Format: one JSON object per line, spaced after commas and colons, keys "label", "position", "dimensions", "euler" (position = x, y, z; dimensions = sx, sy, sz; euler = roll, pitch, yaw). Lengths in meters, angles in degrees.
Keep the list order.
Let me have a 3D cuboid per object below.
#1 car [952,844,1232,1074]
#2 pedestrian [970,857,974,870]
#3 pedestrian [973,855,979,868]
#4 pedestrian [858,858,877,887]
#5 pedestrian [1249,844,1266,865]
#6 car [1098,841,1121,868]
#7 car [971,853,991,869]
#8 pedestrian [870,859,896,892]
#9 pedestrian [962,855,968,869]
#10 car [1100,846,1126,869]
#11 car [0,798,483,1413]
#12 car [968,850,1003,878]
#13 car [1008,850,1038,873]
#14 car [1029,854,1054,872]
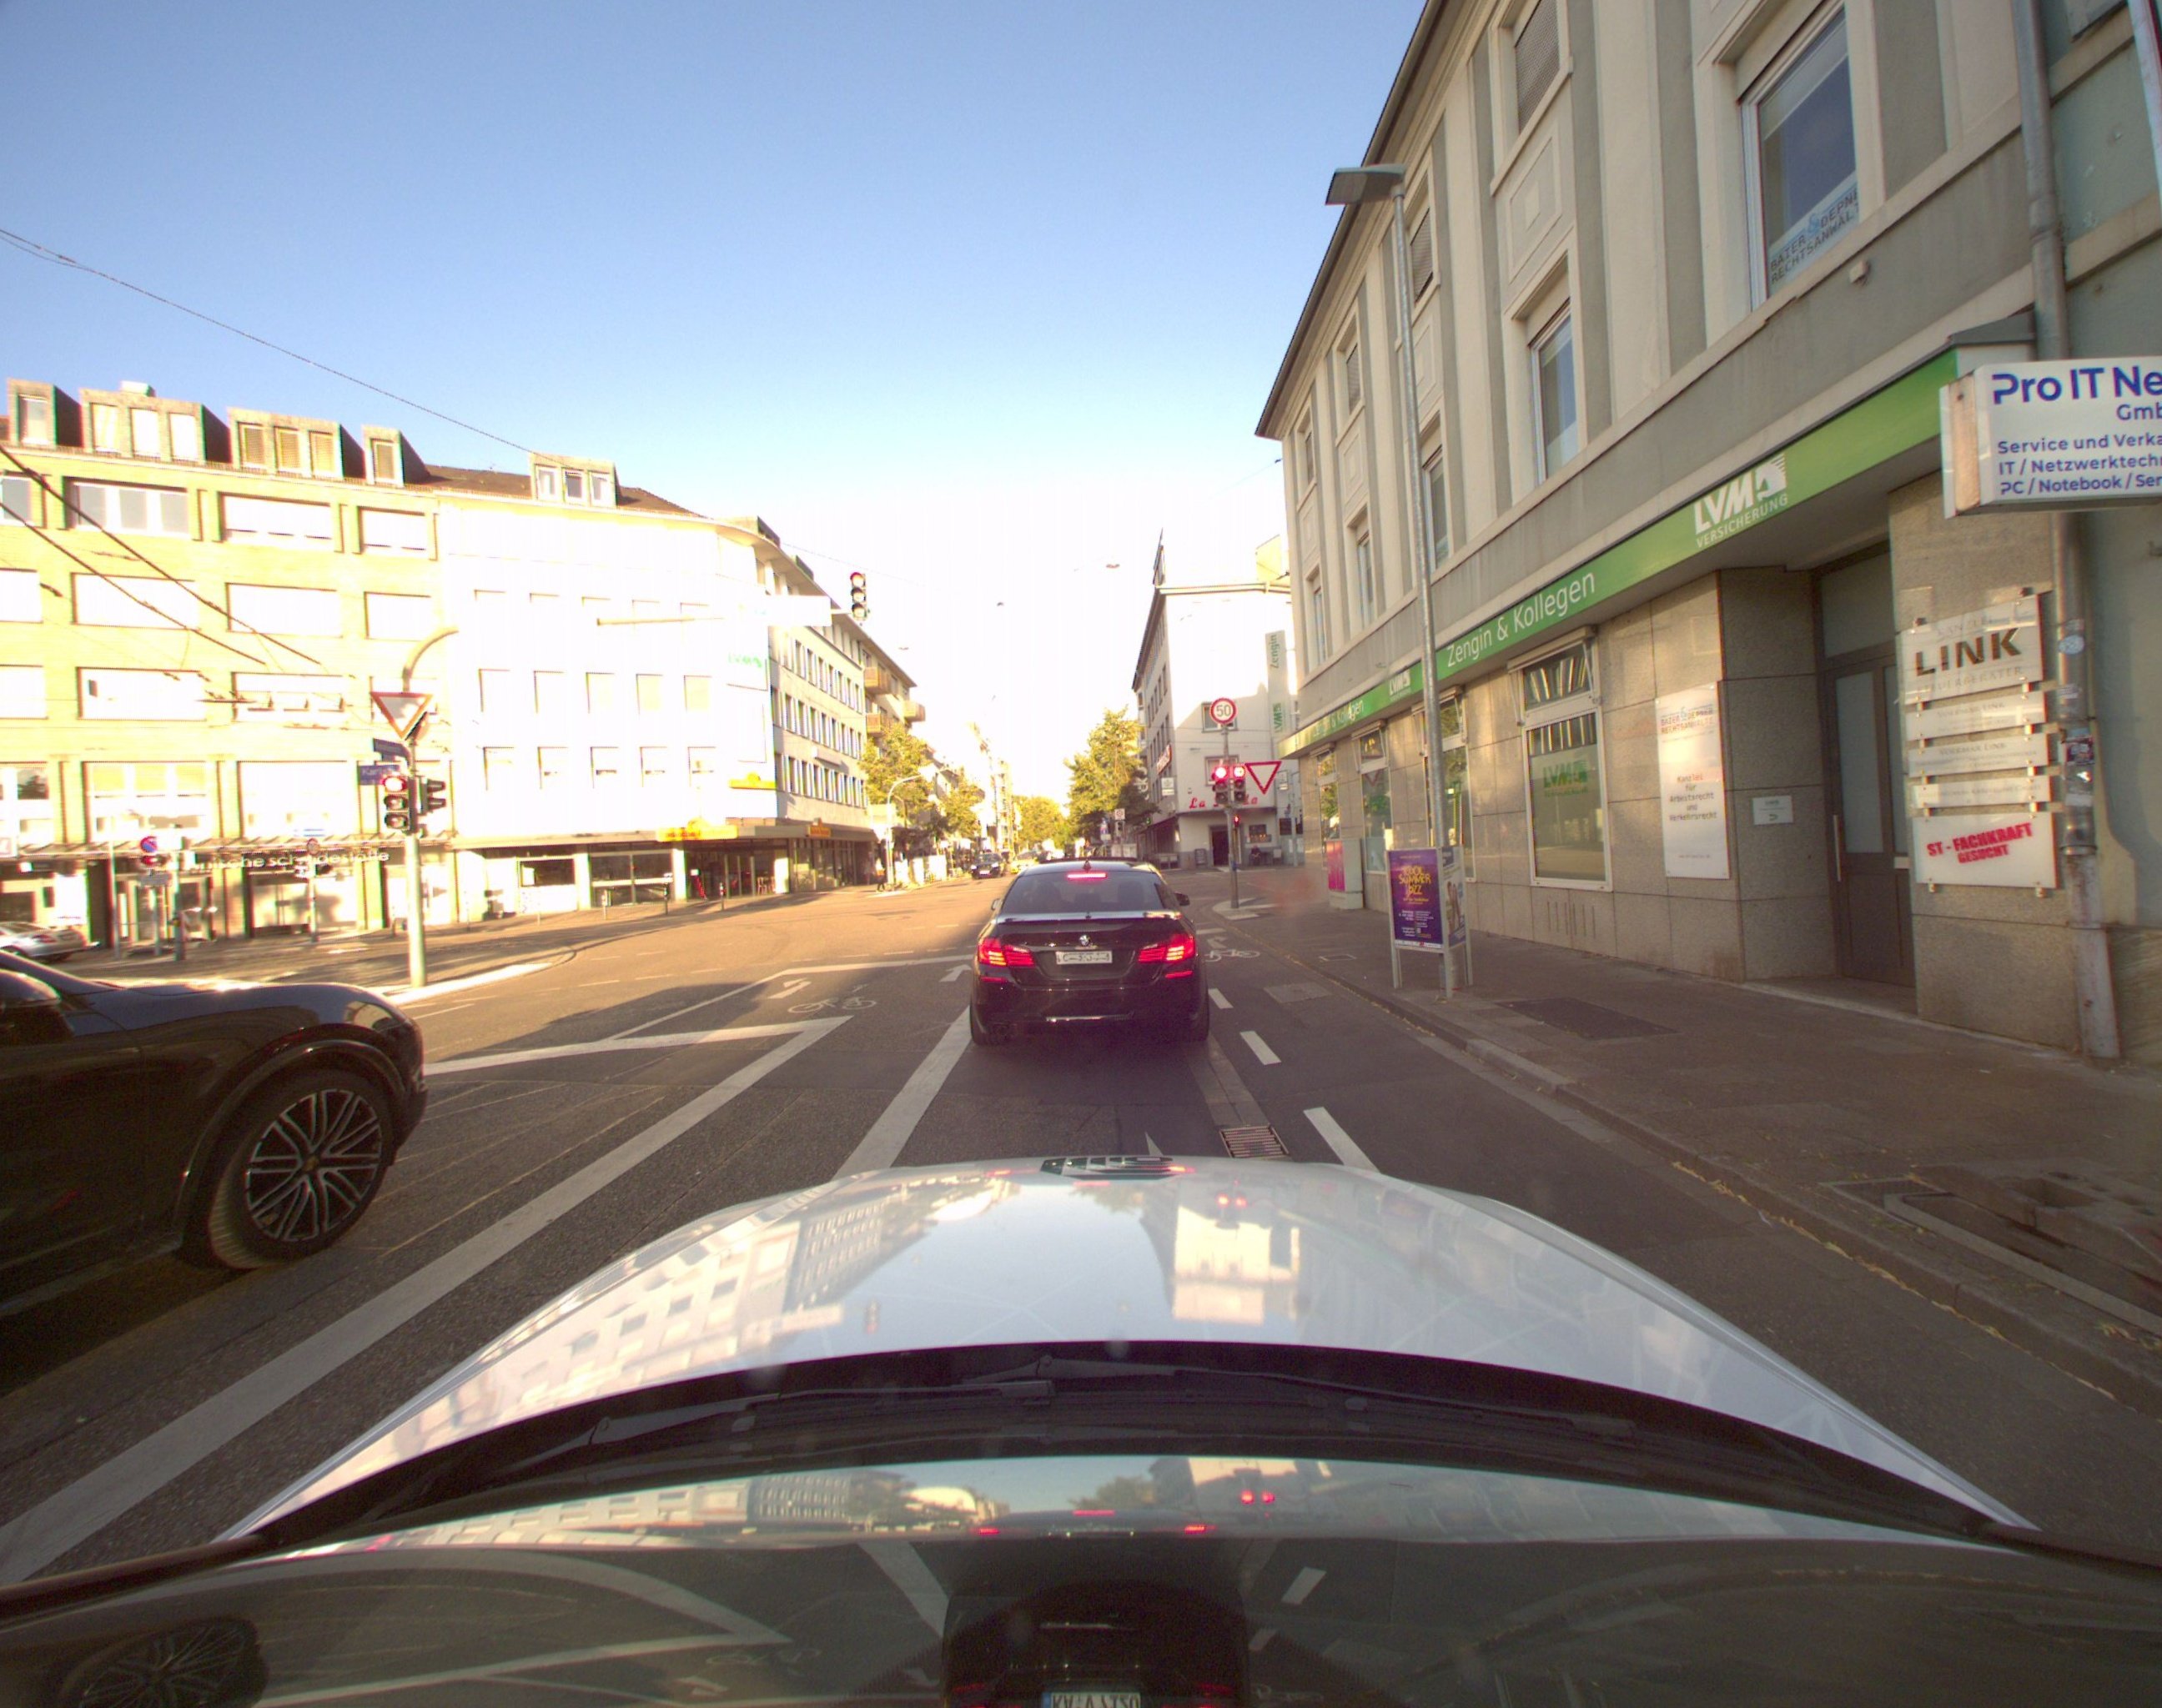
{"label": "car", "position": [0.064, 0.698, 7.781], "dimensions": [1.898, 1.540, 4.448], "euler": [-1, 0, -1]}
{"label": "pedestrian", "position": [-11.550, 0.992, 86.026], "dimensions": [0.306, 1.359, 0.284], "euler": [-3, 0, -9]}
{"label": "pedestrian", "position": [-11.092, 0.799, 85.953], "dimensions": [0.443, 1.416, 0.525], "euler": [-3, 0, -2]}
{"label": "pedestrian", "position": [-13.133, 1.133, 50.189], "dimensions": [0.821, 1.676, 0.871], "euler": [-3, 0, -1]}
{"label": "pedestrian", "position": [10.000, 0.018, 46.240], "dimensions": [0.695, 1.157, 0.843], "euler": [-3, 0, -1]}
{"label": "car", "position": [2.141, 0.043, 61.111], "dimensions": [1.417, 1.854, 3.050], "euler": [-2, 0, -2]}
{"label": "car", "position": [-9.734, 0.694, 79.427], "dimensions": [1.731, 1.461, 3.993], "euler": [-3, 0, -5]}
{"label": "pedestrian", "position": [-9.607, 1.050, 39.479], "dimensions": [0.951, 1.537, 0.900], "euler": [-3, 0, -27]}
{"label": "pedestrian", "position": [-12.197, 0.828, 85.807], "dimensions": [0.443, 1.416, 0.525], "euler": [-3, 0, -2]}
{"label": "car", "position": [2.113, 0.229, 54.706], "dimensions": [1.620, 1.471, 3.394], "euler": [-2, 0, 0]}
{"label": "car", "position": [-4.020, 0.763, 1.776], "dimensions": [1.942, 1.714, 4.561], "euler": [-4, 0, 0]}
{"label": "car", "position": [-6.120, 0.646, 52.538], "dimensions": [1.990, 1.618, 3.993], "euler": [-3, 0, -5]}
{"label": "car", "position": [-4.145, 0.512, 57.931], "dimensions": [1.990, 1.442, 3.993], "euler": [-3, 0, -5]}
{"label": "car", "position": [-3.180, 0.728, 64.675], "dimensions": [1.731, 1.293, 3.993], "euler": [-3, 0, -5]}
